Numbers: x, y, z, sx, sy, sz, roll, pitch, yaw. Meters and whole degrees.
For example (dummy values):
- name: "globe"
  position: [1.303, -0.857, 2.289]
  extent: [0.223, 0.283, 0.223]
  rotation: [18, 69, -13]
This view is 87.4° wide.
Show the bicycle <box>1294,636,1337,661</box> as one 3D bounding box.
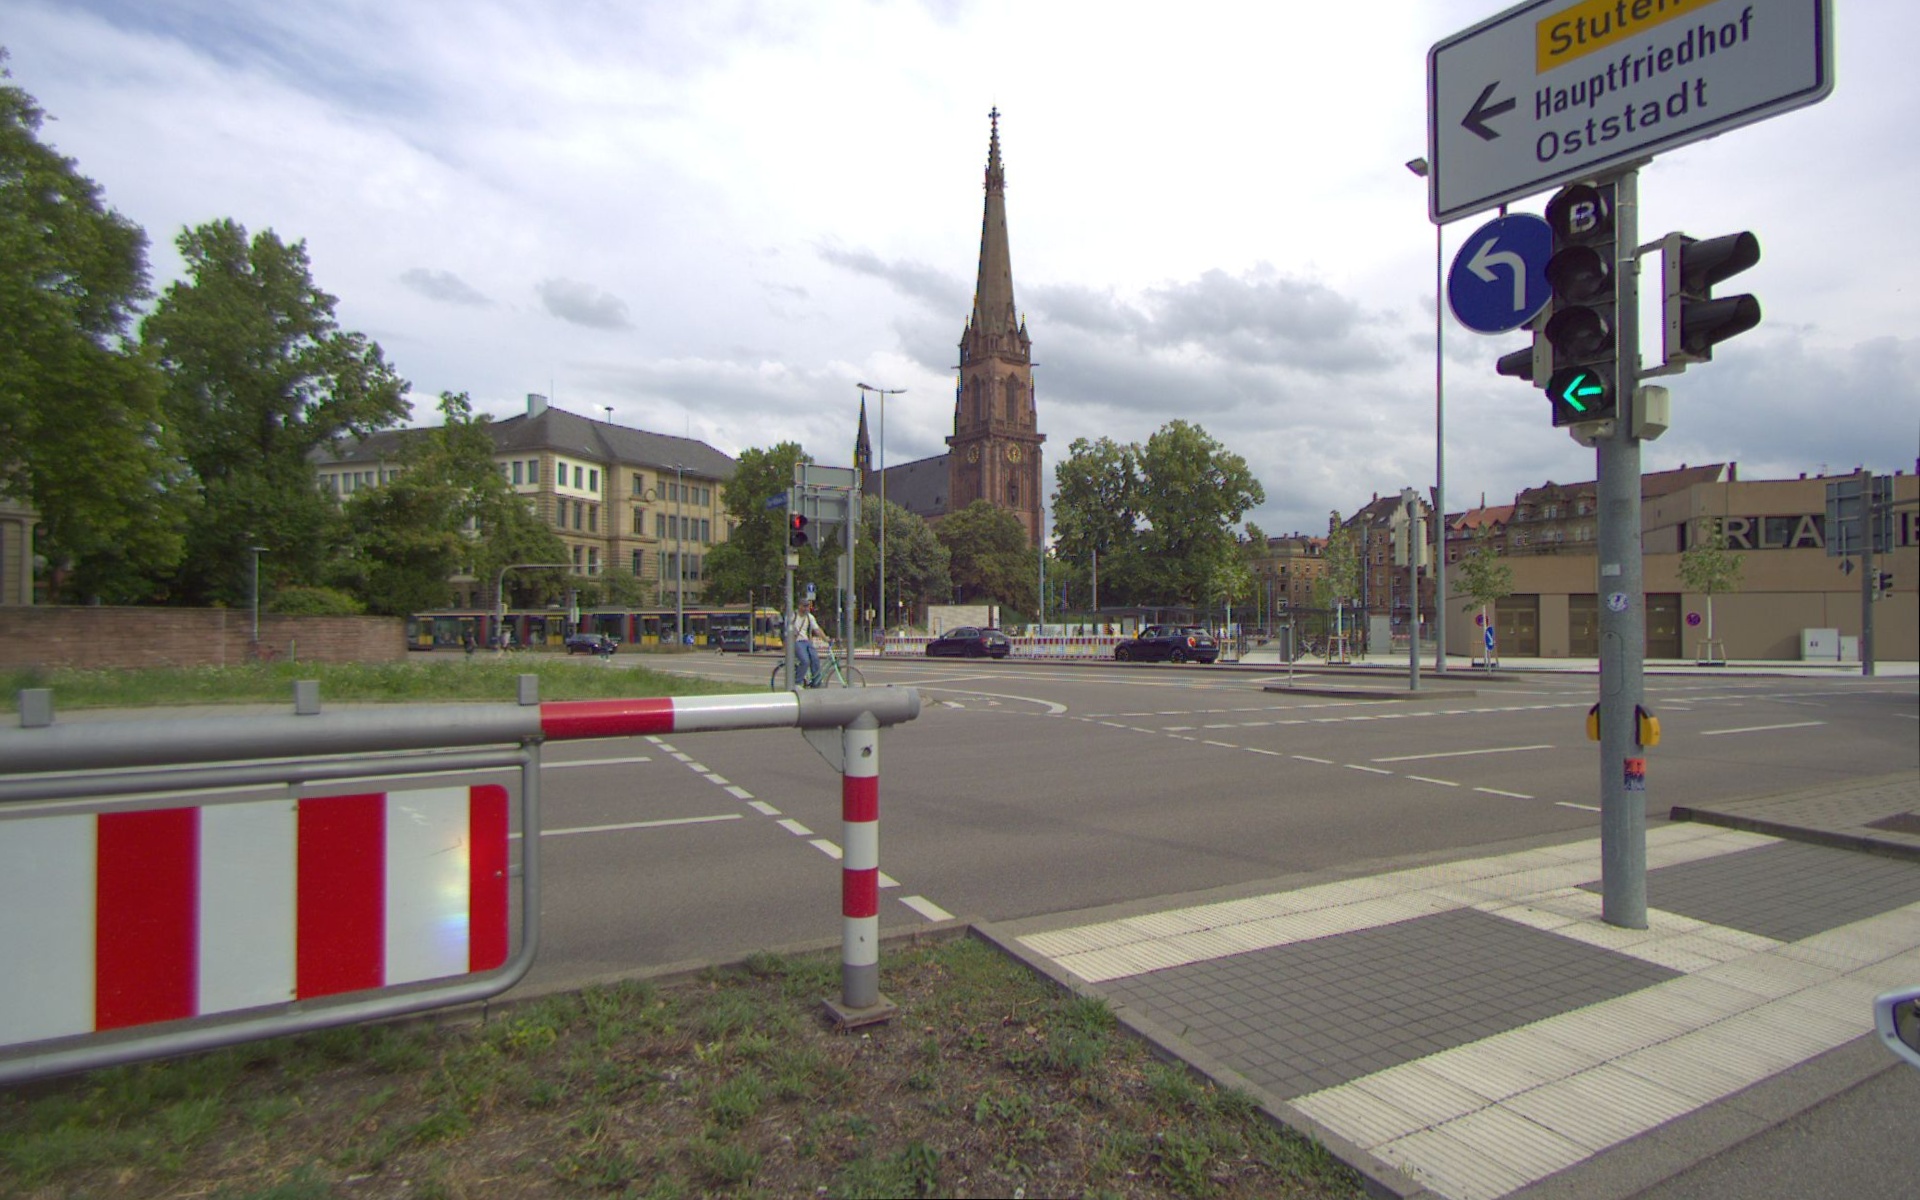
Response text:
- name: "bicycle"
  position: [18.064, 2.444, 51.054]
  extent: [1.926, 1.171, 0.584]
  rotation: [2, 0, 10]

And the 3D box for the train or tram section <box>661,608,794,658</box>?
- name: "train or tram section"
  position: [-17.208, 2.366, 74.393]
  extent: [9.313, 3.290, 3.063]
  rotation: [1, 0, 19]

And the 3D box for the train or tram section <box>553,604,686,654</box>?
- name: "train or tram section"
  position: [-26.267, 2.170, 77.445]
  extent: [9.733, 3.496, 3.063]
  rotation: [1, 0, 19]

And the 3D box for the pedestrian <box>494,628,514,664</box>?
- name: "pedestrian"
  position: [-22.819, 2.286, 50.304]
  extent: [0.791, 1.734, 0.832]
  rotation: [1, 0, -32]

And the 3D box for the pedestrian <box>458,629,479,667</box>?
- name: "pedestrian"
  position: [-23.220, 2.243, 47.445]
  extent: [0.791, 1.734, 0.832]
  rotation: [1, 0, -32]

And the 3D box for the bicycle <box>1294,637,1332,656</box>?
- name: "bicycle"
  position: [19.709, 2.609, 56.094]
  extent: [1.927, 0.983, 0.584]
  rotation: [1, 0, 16]

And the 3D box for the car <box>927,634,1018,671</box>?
- name: "car"
  position: [0.508, 2.300, 44.696]
  extent: [1.980, 1.379, 4.232]
  rotation: [2, 0, -35]

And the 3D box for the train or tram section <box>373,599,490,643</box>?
- name: "train or tram section"
  position: [-43.889, 1.671, 83.478]
  extent: [9.184, 3.321, 3.063]
  rotation: [1, 0, 19]

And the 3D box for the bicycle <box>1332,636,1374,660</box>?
- name: "bicycle"
  position: [20.728, 2.527, 53.004]
  extent: [1.926, 1.171, 0.584]
  rotation: [2, 0, 10]

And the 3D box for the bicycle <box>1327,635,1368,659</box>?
- name: "bicycle"
  position: [20.995, 2.542, 54.437]
  extent: [1.926, 1.171, 0.584]
  rotation: [2, 0, 10]

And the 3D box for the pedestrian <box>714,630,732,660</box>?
- name: "pedestrian"
  position: [-14.066, 2.638, 59.596]
  extent: [0.791, 1.734, 0.832]
  rotation: [1, 0, -32]

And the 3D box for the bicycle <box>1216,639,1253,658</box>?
- name: "bicycle"
  position: [15.297, 2.697, 56.028]
  extent: [1.927, 0.968, 0.584]
  rotation: [1, 0, 16]

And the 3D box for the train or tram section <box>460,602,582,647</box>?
- name: "train or tram section"
  position: [-35.186, 1.914, 80.498]
  extent: [9.243, 3.255, 3.063]
  rotation: [1, 0, 19]

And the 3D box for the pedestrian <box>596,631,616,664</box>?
- name: "pedestrian"
  position: [-19.224, 2.589, 54.538]
  extent: [0.791, 1.734, 0.832]
  rotation: [1, 0, -32]

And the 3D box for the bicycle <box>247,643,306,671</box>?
- name: "bicycle"
  position: [-27.004, 2.235, 39.718]
  extent: [0.763, 1.018, 1.927]
  rotation: [1, 0, 12]

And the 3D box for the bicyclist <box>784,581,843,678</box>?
- name: "bicyclist"
  position: [-2.455, 0.490, 16.865]
  extent: [0.782, 1.575, 0.580]
  rotation: [2, -2, 10]

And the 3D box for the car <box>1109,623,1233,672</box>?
- name: "car"
  position: [7.368, 1.625, 35.380]
  extent: [1.980, 1.506, 3.960]
  rotation: [2, 0, -35]

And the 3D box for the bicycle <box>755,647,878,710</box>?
- name: "bicycle"
  position: [-2.397, 1.297, 16.815]
  extent: [1.931, 0.948, 0.506]
  rotation: [2, -2, 10]

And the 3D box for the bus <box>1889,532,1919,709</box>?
- name: "bus"
  position: [17.690, 0.137, 14.106]
  extent: [2.663, 3.483, 14.173]
  rotation: [-1, -3, 26]

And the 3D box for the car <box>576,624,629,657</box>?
- name: "car"
  position: [-24.667, 2.779, 69.251]
  extent: [1.986, 2.040, 3.949]
  rotation: [2, 0, -43]

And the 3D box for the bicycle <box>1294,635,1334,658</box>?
- name: "bicycle"
  position: [18.932, 2.481, 53.704]
  extent: [1.926, 1.171, 0.584]
  rotation: [2, 0, 10]
